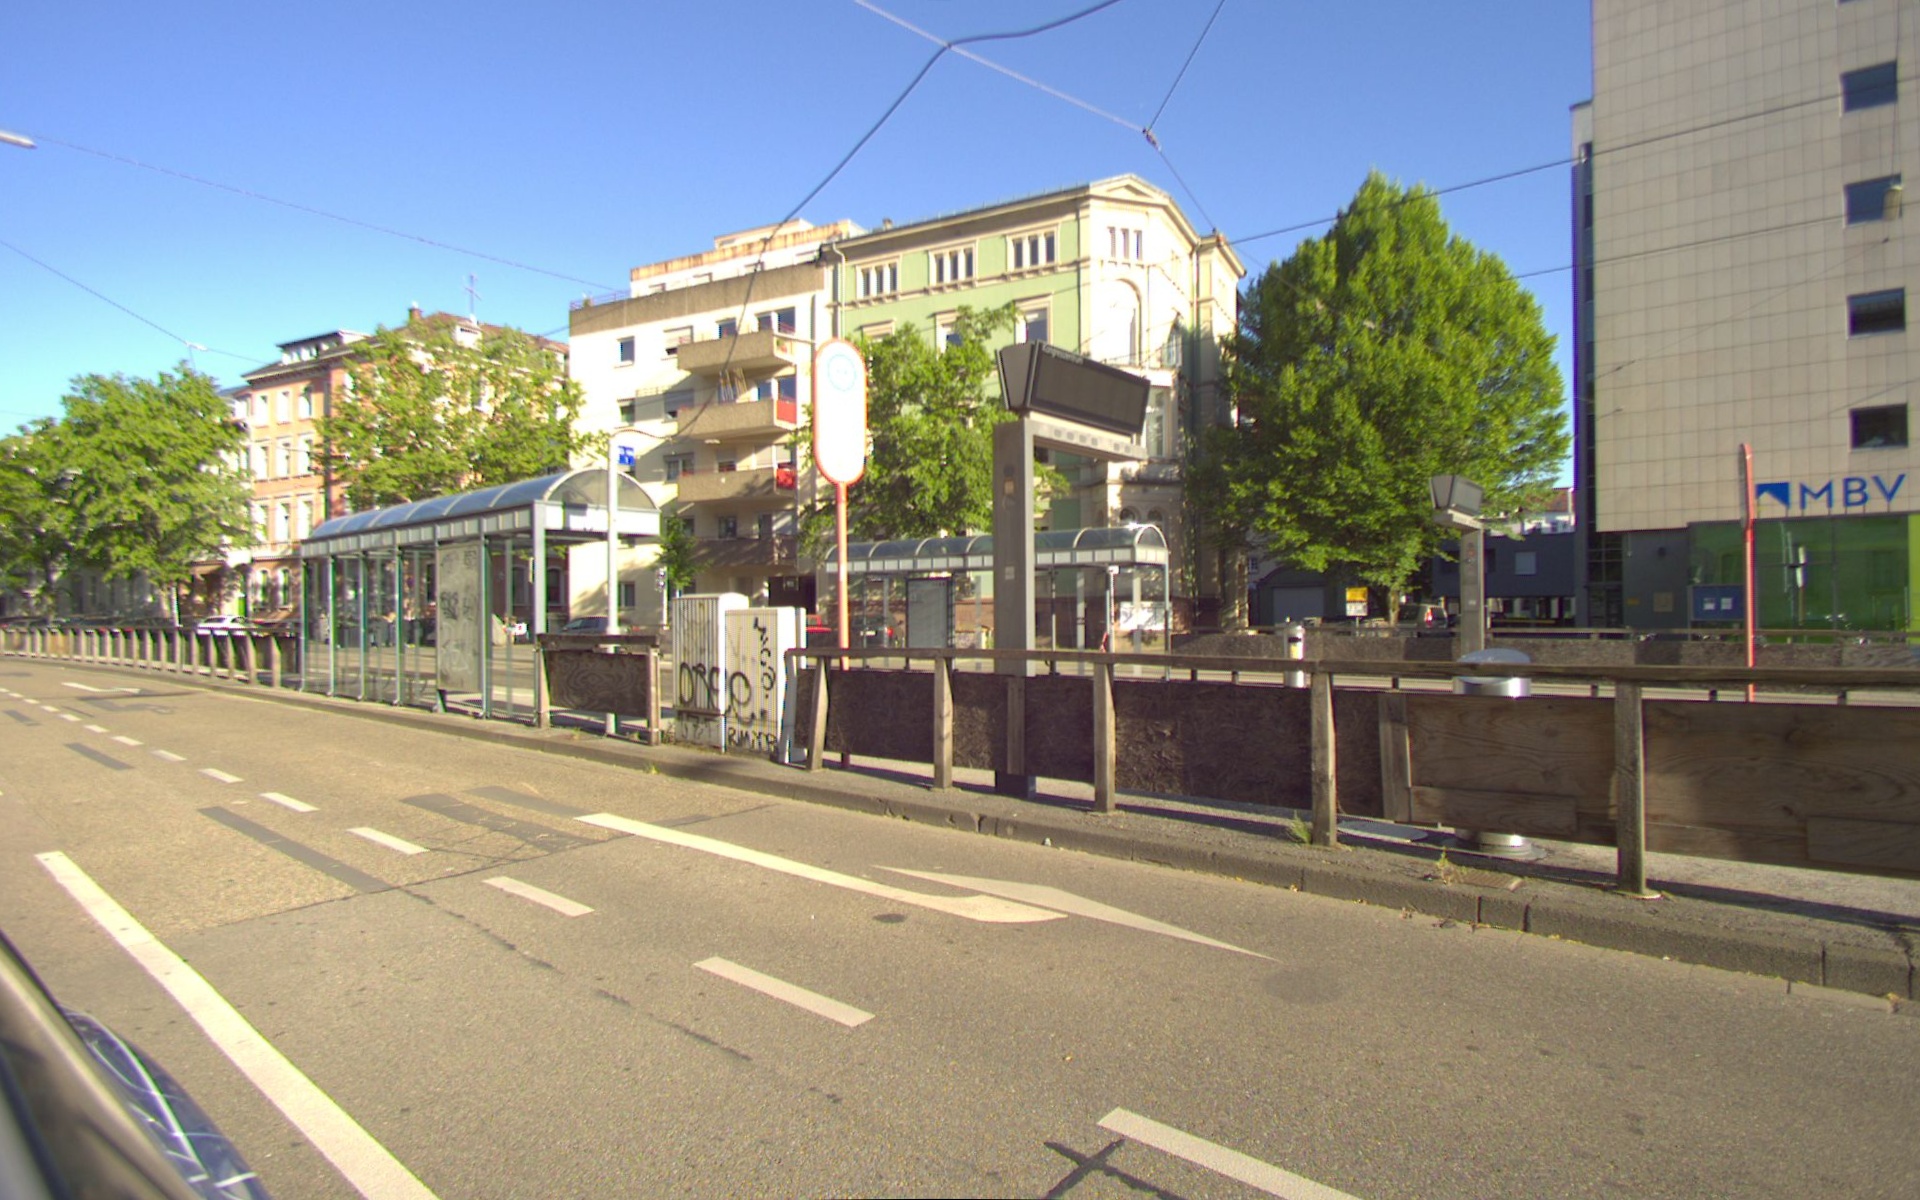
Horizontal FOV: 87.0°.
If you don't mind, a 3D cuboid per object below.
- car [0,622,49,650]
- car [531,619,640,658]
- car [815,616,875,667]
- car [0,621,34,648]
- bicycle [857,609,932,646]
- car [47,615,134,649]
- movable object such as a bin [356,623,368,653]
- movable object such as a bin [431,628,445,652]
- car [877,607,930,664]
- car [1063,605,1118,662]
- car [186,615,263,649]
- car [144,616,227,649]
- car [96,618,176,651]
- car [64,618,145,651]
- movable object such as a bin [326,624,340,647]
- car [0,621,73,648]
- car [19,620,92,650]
[{"bbox_3d":[-61.026,2.283,64.876,1.748,1.666,3.871,-1,1,-1],"label":"car"},{"bbox_3d":[-14.314,1.452,38.631,4.278,1.421,1.693,-1,-1,32],"label":"car"},{"bbox_3d":[-3.743,1.327,33.601,1.845,1.436,4.520,0,1,-5],"label":"car"},{"bbox_3d":[-63.724,2.295,66.778,1.748,1.666,3.872,-1,1,-1],"label":"car"},{"bbox_3d":[-2.568,1.053,39.424,2.995,1.409,0.713,-1,-1,27],"label":"bicycle"},{"bbox_3d":[-52.176,1.862,60.826,1.682,1.735,4.291,0,2,-4],"label":"car"},{"bbox_3d":[-28.496,1.810,48.243,0.385,1.437,0.375,-1,-1,40],"label":"movable object such as a bin"},{"bbox_3d":[-25.000,1.900,48.503,0.551,1.105,0.376,0,0,34],"label":"movable object such as a bin"},{"bbox_3d":[-1.883,1.087,32.753,1.566,1.654,4.521,0,1,-5],"label":"car"},{"bbox_3d":[4.100,0.981,31.618,1.572,1.581,4.504,0,1,8],"label":"car"},{"bbox_3d":[-39.462,1.696,54.423,1.708,1.533,3.924,-2,1,-9],"label":"car"},{"bbox_3d":[-42.497,1.747,55.652,1.664,1.519,3.926,-2,1,-3],"label":"car"},{"bbox_3d":[-46.856,1.924,57.656,1.609,1.629,3.993,-2,1,-7],"label":"car"},{"bbox_3d":[-49.409,1.974,58.543,1.609,1.629,3.993,-2,1,-7],"label":"car"},{"bbox_3d":[-29.922,1.682,48.277,0.639,1.076,0.375,-1,-1,40],"label":"movable object such as a bin"},{"bbox_3d":[-58.475,2.165,63.802,1.745,1.496,3.823,-1,1,-1],"label":"car"},{"bbox_3d":[-55.639,2.135,62.321,1.682,1.544,3.284,-2,2,-3],"label":"car"}]
